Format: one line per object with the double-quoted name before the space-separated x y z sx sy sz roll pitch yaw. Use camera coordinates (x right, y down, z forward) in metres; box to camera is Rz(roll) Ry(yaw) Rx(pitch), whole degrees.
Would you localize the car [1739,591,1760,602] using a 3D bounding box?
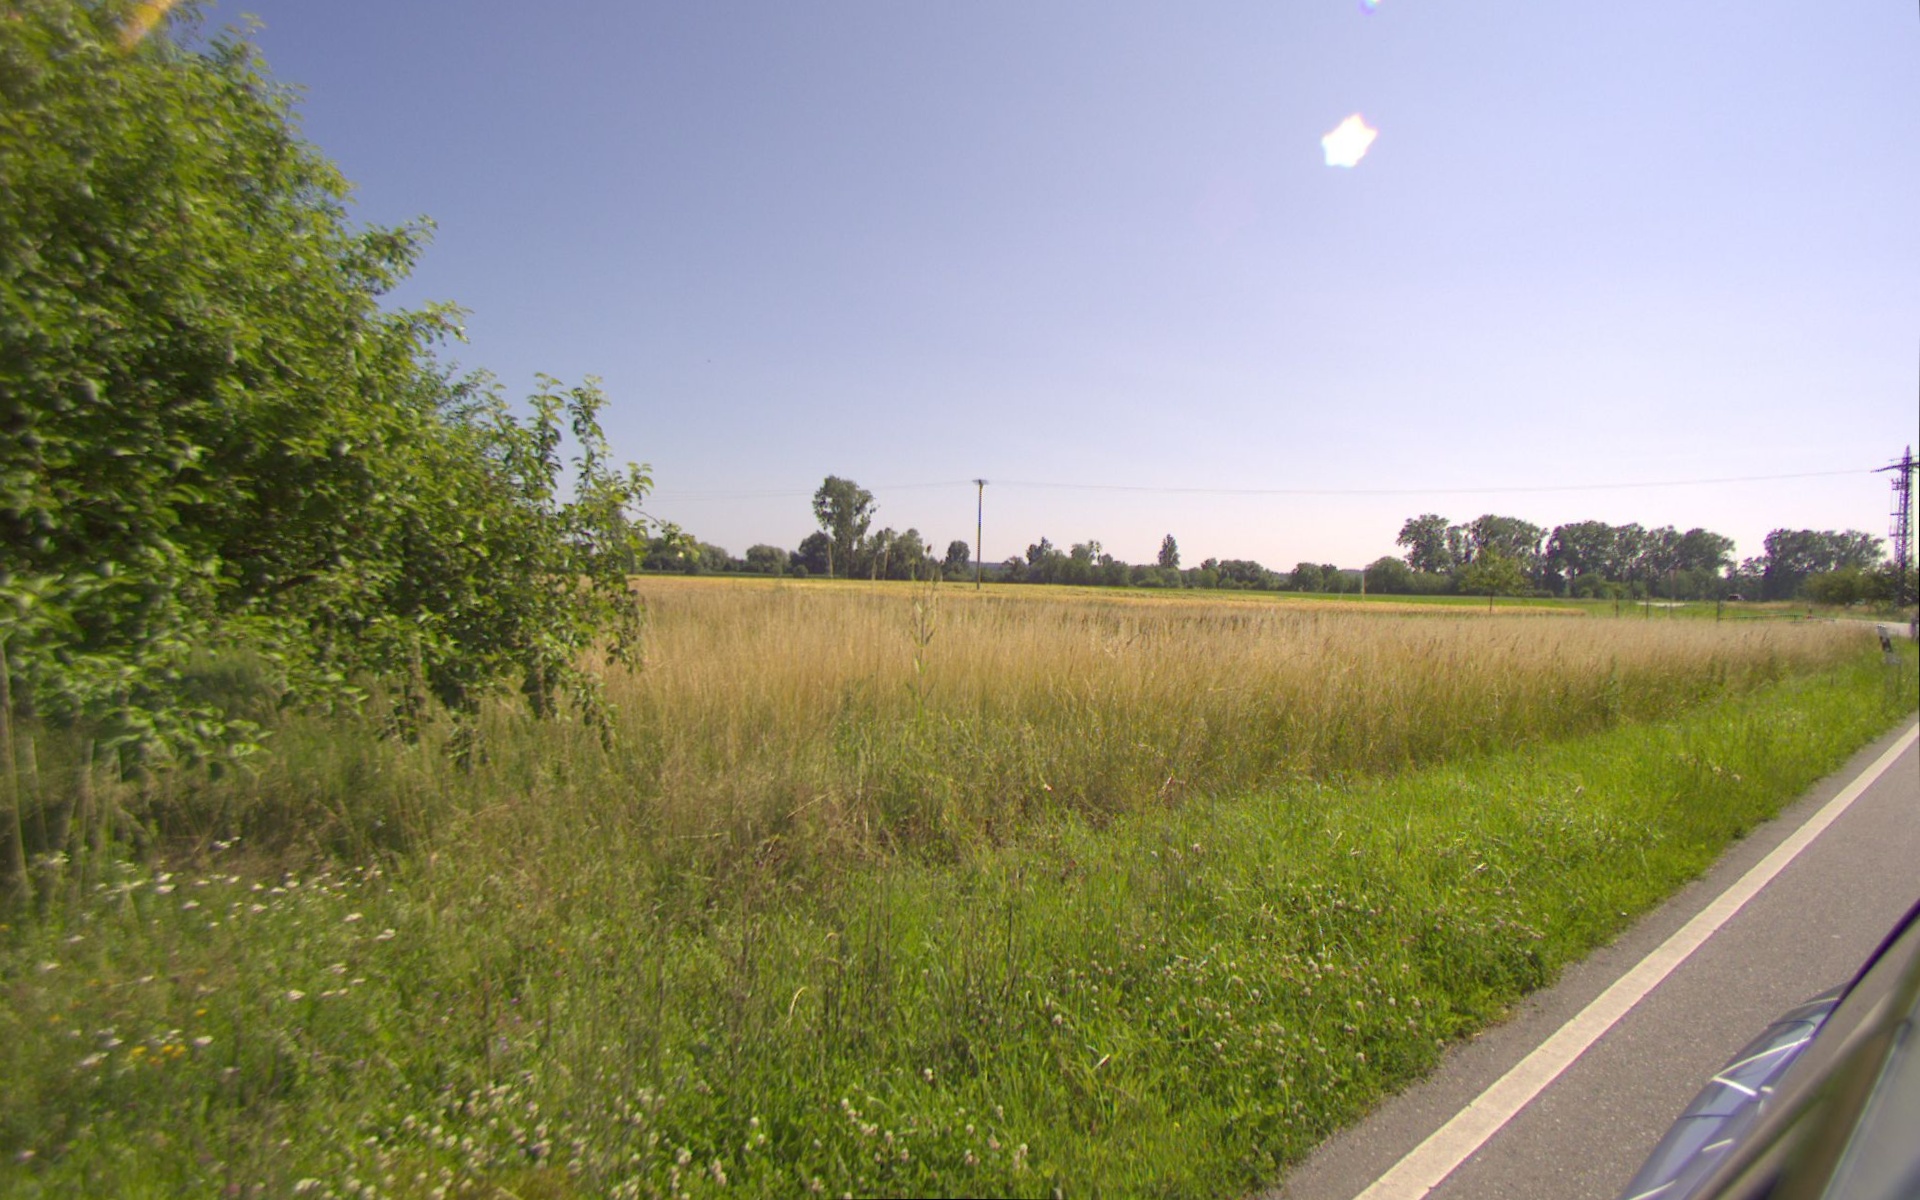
"car" 138.961 -0.593 178.185 4.218 1.774 1.871 1 2 -38
